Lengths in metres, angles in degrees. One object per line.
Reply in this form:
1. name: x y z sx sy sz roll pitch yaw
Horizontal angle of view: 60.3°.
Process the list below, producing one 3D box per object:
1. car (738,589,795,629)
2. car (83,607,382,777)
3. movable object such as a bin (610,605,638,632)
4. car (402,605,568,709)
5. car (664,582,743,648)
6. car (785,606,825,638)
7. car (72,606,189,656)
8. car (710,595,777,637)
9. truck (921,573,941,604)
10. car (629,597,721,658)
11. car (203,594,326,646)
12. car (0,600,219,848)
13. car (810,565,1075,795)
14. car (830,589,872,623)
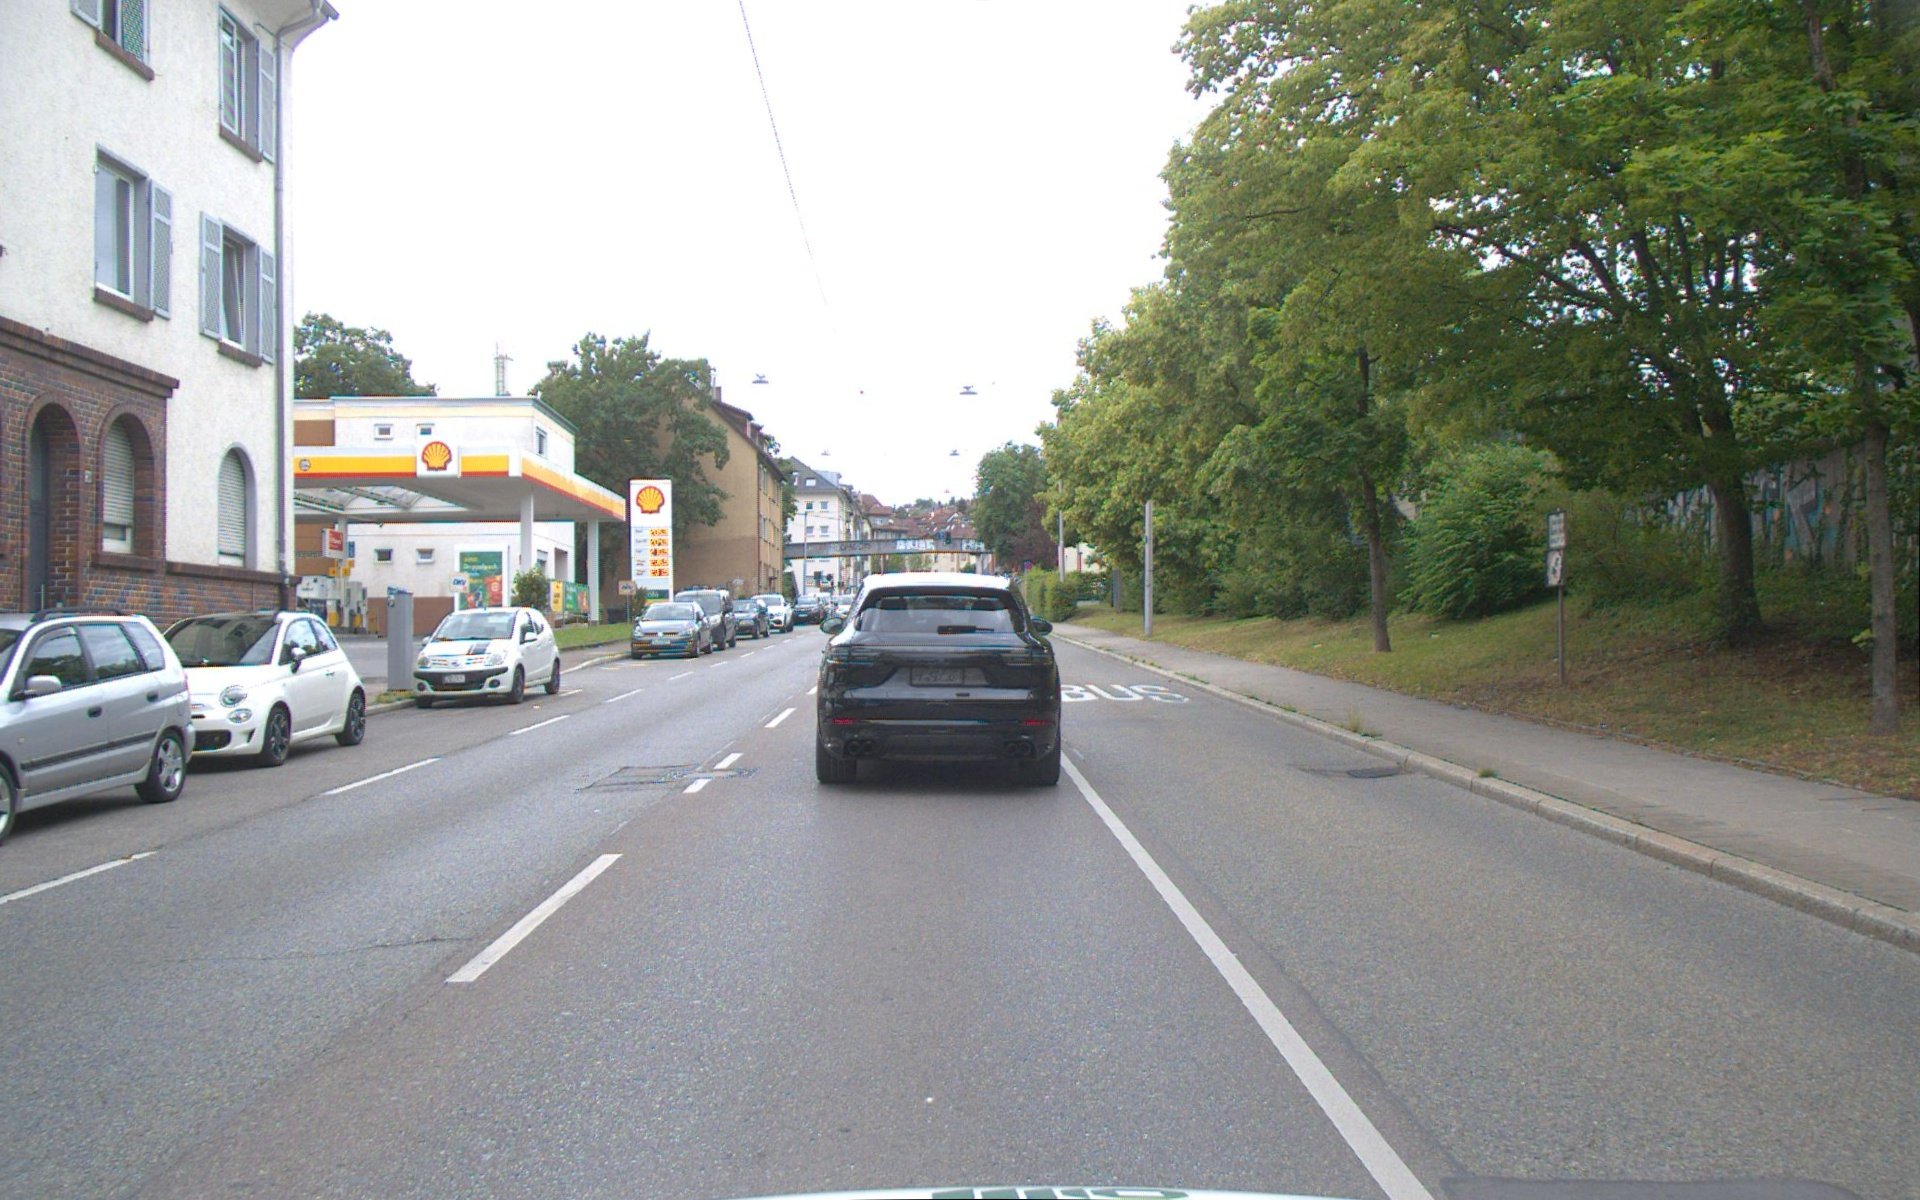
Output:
1. car: -8.217 0.383 70.724 1.876 1.605 4.699 -2 0 0
2. car: -7.334 0.852 17.046 1.516 1.501 3.603 -1 0 -1
3. movable object such as a bin: -18.269 1.022 89.948 1.365 1.453 0.912 0 0 -3
4. car: -7.469 0.845 26.327 1.586 1.450 3.665 -1 0 -1
5. car: -7.758 0.422 50.381 1.814 1.867 4.699 -2 0 -3
6. car: -8.626 1.196 92.385 1.746 1.637 4.264 -3 0 0
7. car: -24.943 0.910 49.865 1.761 1.445 3.635 0 0 -1
8. car: -8.018 0.572 61.639 1.760 1.456 4.744 -2 0 1
9. truck: -3.348 -1.308 191.254 2.221 3.484 9.875 -1 0 -1
10. car: -7.585 0.694 44.395 1.754 1.475 4.217 -2 0 -1
11. car: -20.205 0.538 48.234 1.761 1.445 4.416 0 0 -1
12. car: -7.064 0.844 11.836 1.692 1.585 4.080 -3 0 -2
13. car: -0.145 0.563 14.222 1.953 1.691 4.000 0 1 -1
14. car: -5.196 0.271 79.486 1.761 1.551 3.999 -2 0 -1
